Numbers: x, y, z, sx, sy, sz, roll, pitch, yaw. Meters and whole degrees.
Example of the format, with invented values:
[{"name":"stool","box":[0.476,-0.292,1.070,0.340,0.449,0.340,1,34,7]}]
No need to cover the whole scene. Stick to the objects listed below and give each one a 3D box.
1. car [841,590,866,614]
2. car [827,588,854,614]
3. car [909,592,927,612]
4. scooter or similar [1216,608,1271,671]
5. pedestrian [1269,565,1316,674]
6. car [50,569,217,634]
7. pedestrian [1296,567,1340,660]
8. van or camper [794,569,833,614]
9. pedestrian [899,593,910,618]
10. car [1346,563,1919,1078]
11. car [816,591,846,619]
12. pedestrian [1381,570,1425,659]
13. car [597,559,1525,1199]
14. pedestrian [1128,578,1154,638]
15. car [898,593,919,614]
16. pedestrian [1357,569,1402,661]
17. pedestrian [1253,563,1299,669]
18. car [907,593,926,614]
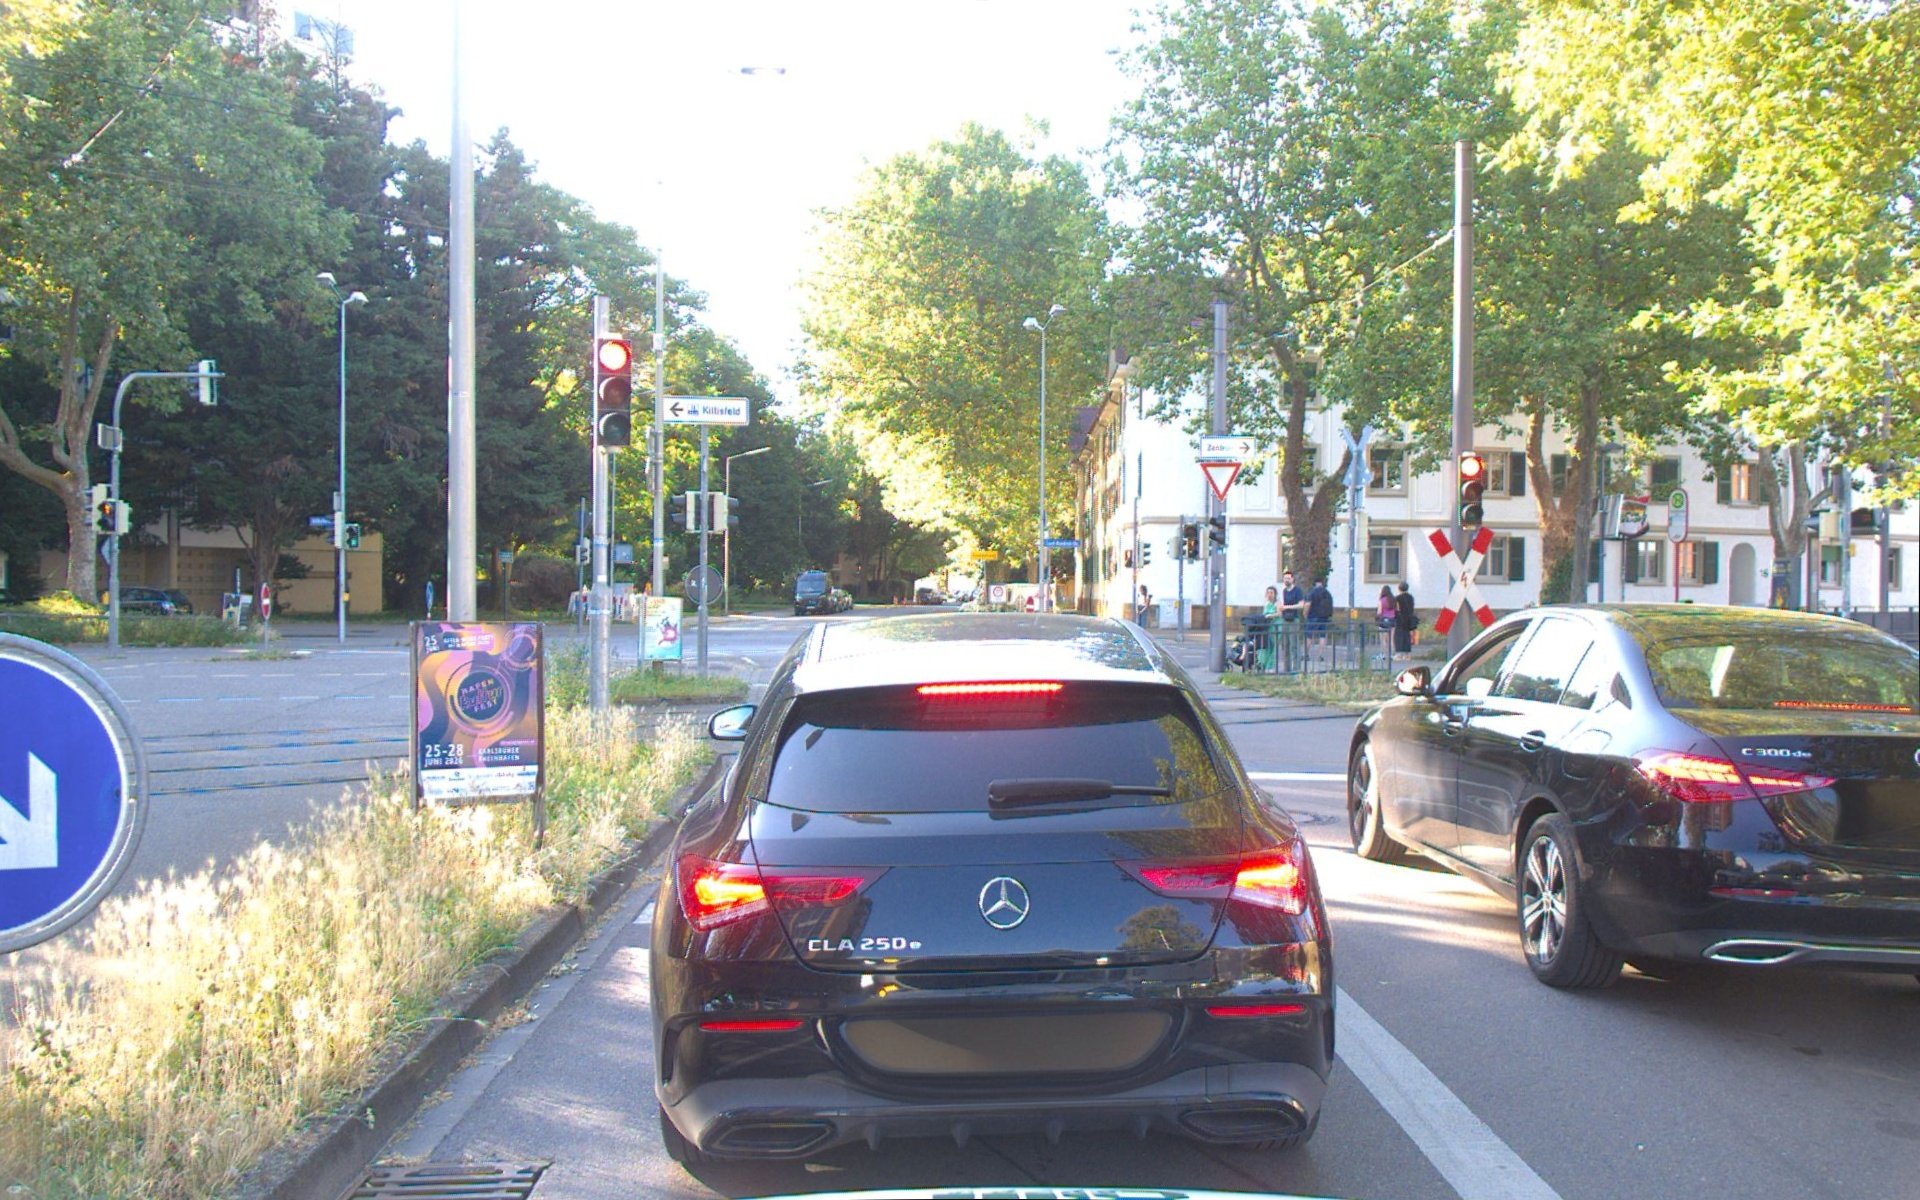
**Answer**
[{"name":"car","box":[-8.129,0.139,126.275,1.698,1.796,3.970,1,0,-1]},{"name":"car","box":[-8.482,0.097,117.483,1.698,1.796,4.084,1,0,-1]},{"name":"car","box":[-3.997,0.199,158.399,1.698,1.796,4.018,1,0,-1]},{"name":"scooter or similar","box":[5.230,0.719,30.527,0.812,1.124,0.808,1,0,-6]},{"name":"pedestrian","box":[6.071,0.358,30.203,0.669,1.951,0.707,1,-1,-3]},{"name":"car","box":[-24.375,0.044,48.847,3.902,1.805,2.001,1,0,7]},{"name":"pedestrian","box":[7.669,0.283,35.412,0.691,1.951,0.838,1,-1,-4]},{"name":"van or camper","box":[-8.789,-0.489,99.609,1.953,2.586,4.650,1,0,-1]},{"name":"pedestrian","box":[-4.360,0.448,129.951,0.692,1.951,0.837,1,-1,-11]},{"name":"car","box":[3.144,0.651,7.322,1.851,1.516,4.382,1,2,0]},{"name":"car","box":[-8.525,0.315,109.344,1.698,1.796,4.340,1,0,-1]},{"name":"pedestrian","box":[9.860,0.314,36.812,0.691,1.951,0.838,1,-1,-4]},{"name":"car","box":[0.218,0.654,5.345,1.851,1.475,4.001,1,2,0]},{"name":"pedestrian","box":[5.930,0.264,54.265,0.691,1.951,0.838,1,-1,-4]},{"name":"car","box":[-4.524,0.342,145.486,1.698,1.796,4.018,1,0,-1]},{"name":"pedestrian","box":[9.070,0.327,35.800,0.691,1.951,0.838,1,-1,-4]},{"name":"pedestrian","box":[5.914,0.305,30.973,0.669,1.951,0.706,1,-1,-5]},{"name":"car","box":[-3.949,0.310,150.316,1.698,1.796,4.018,1,0,-1]}]
